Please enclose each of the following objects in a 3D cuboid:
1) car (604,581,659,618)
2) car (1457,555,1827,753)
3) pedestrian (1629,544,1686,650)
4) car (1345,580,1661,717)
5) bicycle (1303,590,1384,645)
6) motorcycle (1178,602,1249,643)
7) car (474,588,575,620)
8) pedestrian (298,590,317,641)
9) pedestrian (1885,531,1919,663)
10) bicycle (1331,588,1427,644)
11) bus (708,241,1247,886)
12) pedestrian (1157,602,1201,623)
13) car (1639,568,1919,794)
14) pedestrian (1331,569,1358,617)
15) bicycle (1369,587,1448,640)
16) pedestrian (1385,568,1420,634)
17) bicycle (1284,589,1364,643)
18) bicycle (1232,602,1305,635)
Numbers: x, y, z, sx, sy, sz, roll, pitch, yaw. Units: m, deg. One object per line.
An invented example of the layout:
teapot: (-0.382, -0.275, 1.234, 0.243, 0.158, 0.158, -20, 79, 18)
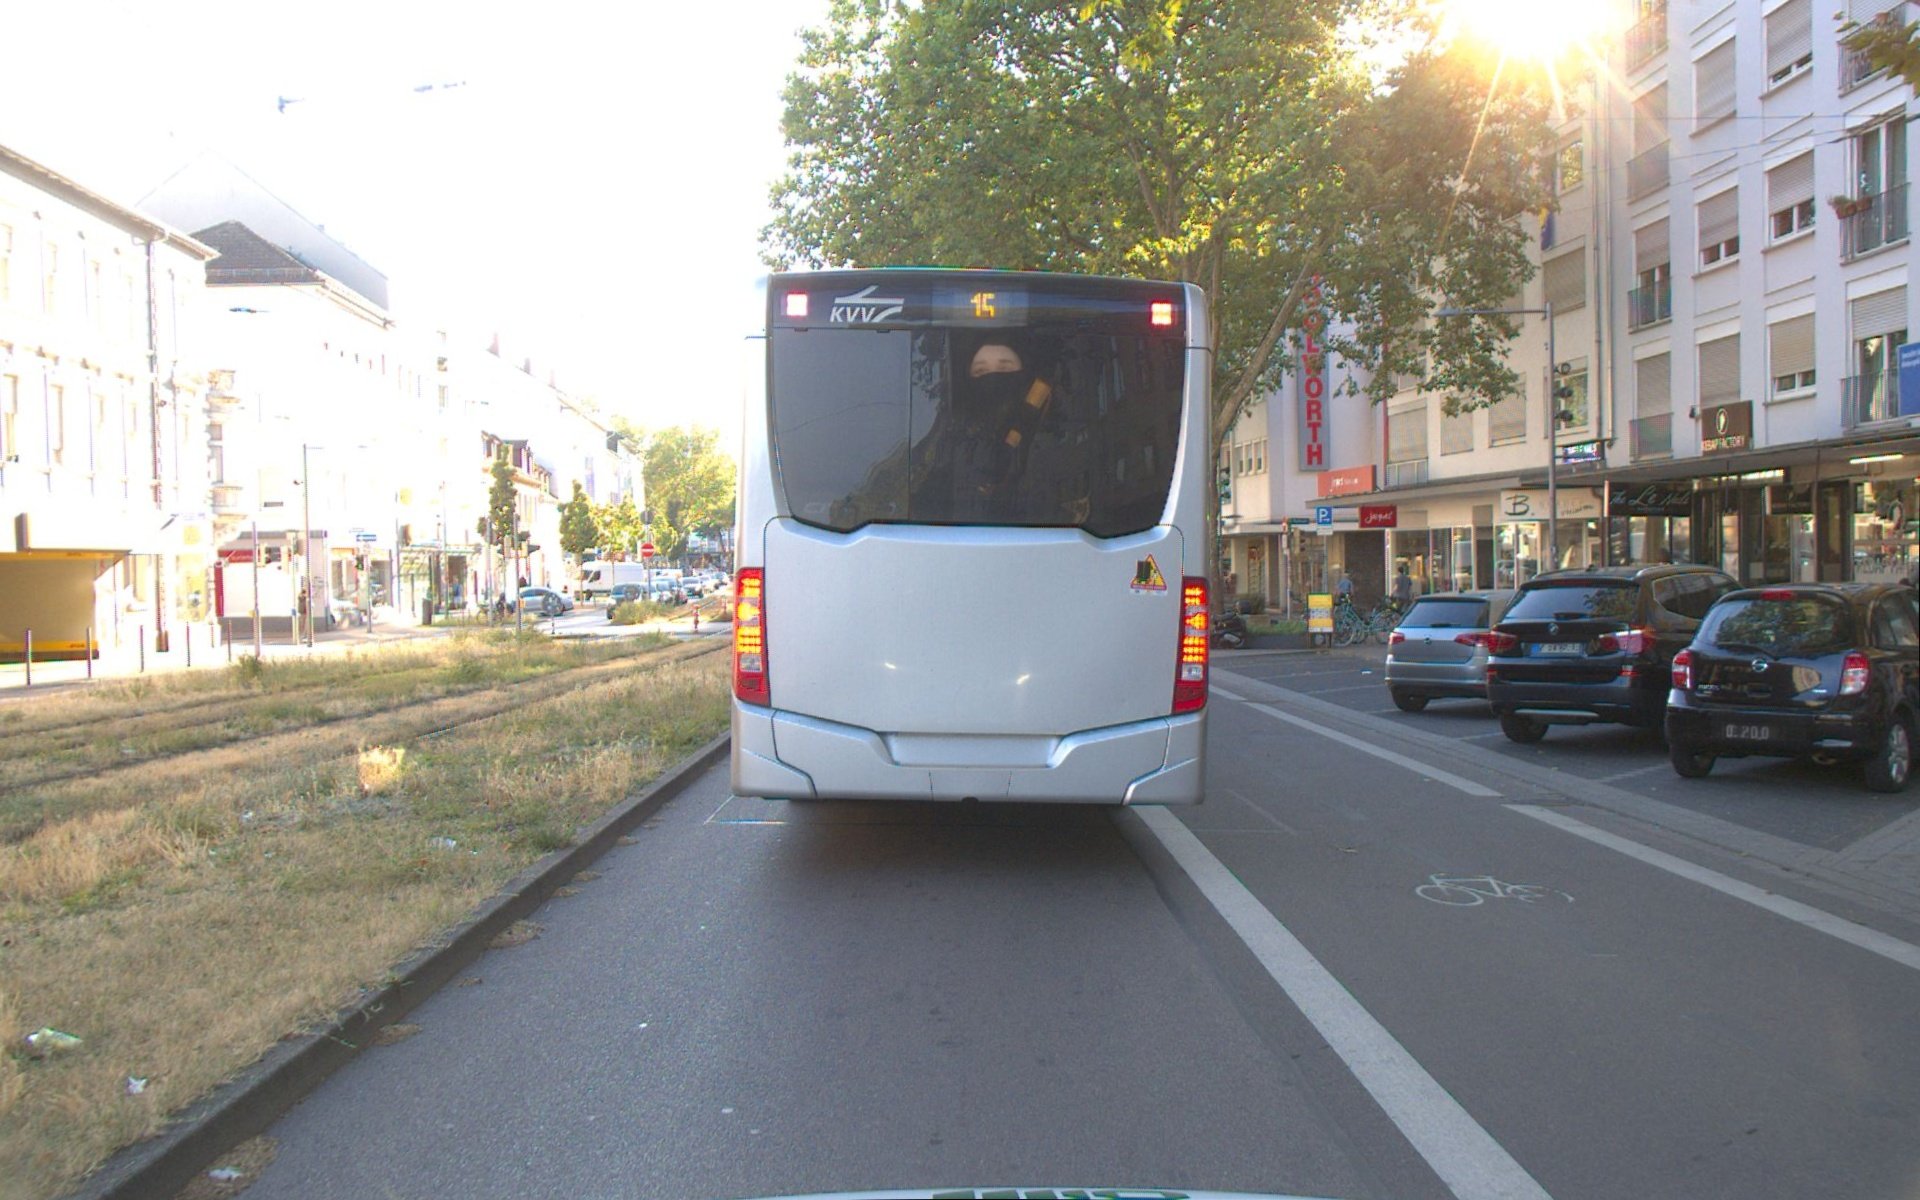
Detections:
car: (-14.739, -0.057, 74.390, 1.687, 1.535, 3.476, -3, 1, 0)
car: (6.853, 0.437, 16.420, 4.115, 1.710, 1.782, -2, 1, -42)
pedestrian: (12.759, -0.055, 30.269, 0.630, 1.909, 0.824, -1, 0, -3)
car: (6.813, 0.531, 20.575, 4.136, 1.477, 1.784, -2, 1, -39)
bicycle: (9.408, 0.419, 40.565, 1.753, 1.210, 0.671, -4, 0, -9)
motorcycle: (5.847, 0.512, 38.203, 1.539, 0.908, 0.544, -1, 0, -4)
car: (-21.616, 0.189, 82.150, 4.504, 1.437, 1.974, -1, 1, -37)
pedestrian: (-22.484, 0.524, 56.988, 0.417, 1.743, 0.508, -1, 0, 3)
pedestrian: (13.712, -0.064, 23.446, 0.692, 1.822, 0.788, -4, 0, 5)
bicycle: (9.882, 0.369, 39.069, 2.037, 1.254, 0.832, -2, 0, 4)
bus: (0.103, -0.236, 11.630, 2.623, 3.137, 7.114, 0, 1, 0)
pedestrian: (6.500, 0.369, 49.201, 1.229, 0.599, 0.482, -1, 0, -3)
car: (7.181, 0.542, 13.404, 3.577, 1.567, 1.715, -2, 1, -42)
pedestrian: (14.058, -0.256, 60.518, 0.733, 1.708, 0.834, -1, 2, -7)
bicycle: (10.701, 0.313, 39.503, 1.726, 1.174, 0.679, -2, 0, 8)
pedestrian: (12.297, 0.020, 45.977, 0.764, 1.825, 0.764, -1, 0, -1)
bicycle: (9.126, 0.405, 41.492, 1.836, 1.210, 0.712, -4, 0, 8)
bicycle: (8.009, 0.485, 42.965, 1.836, 0.778, 0.712, -1, 2, 8)
